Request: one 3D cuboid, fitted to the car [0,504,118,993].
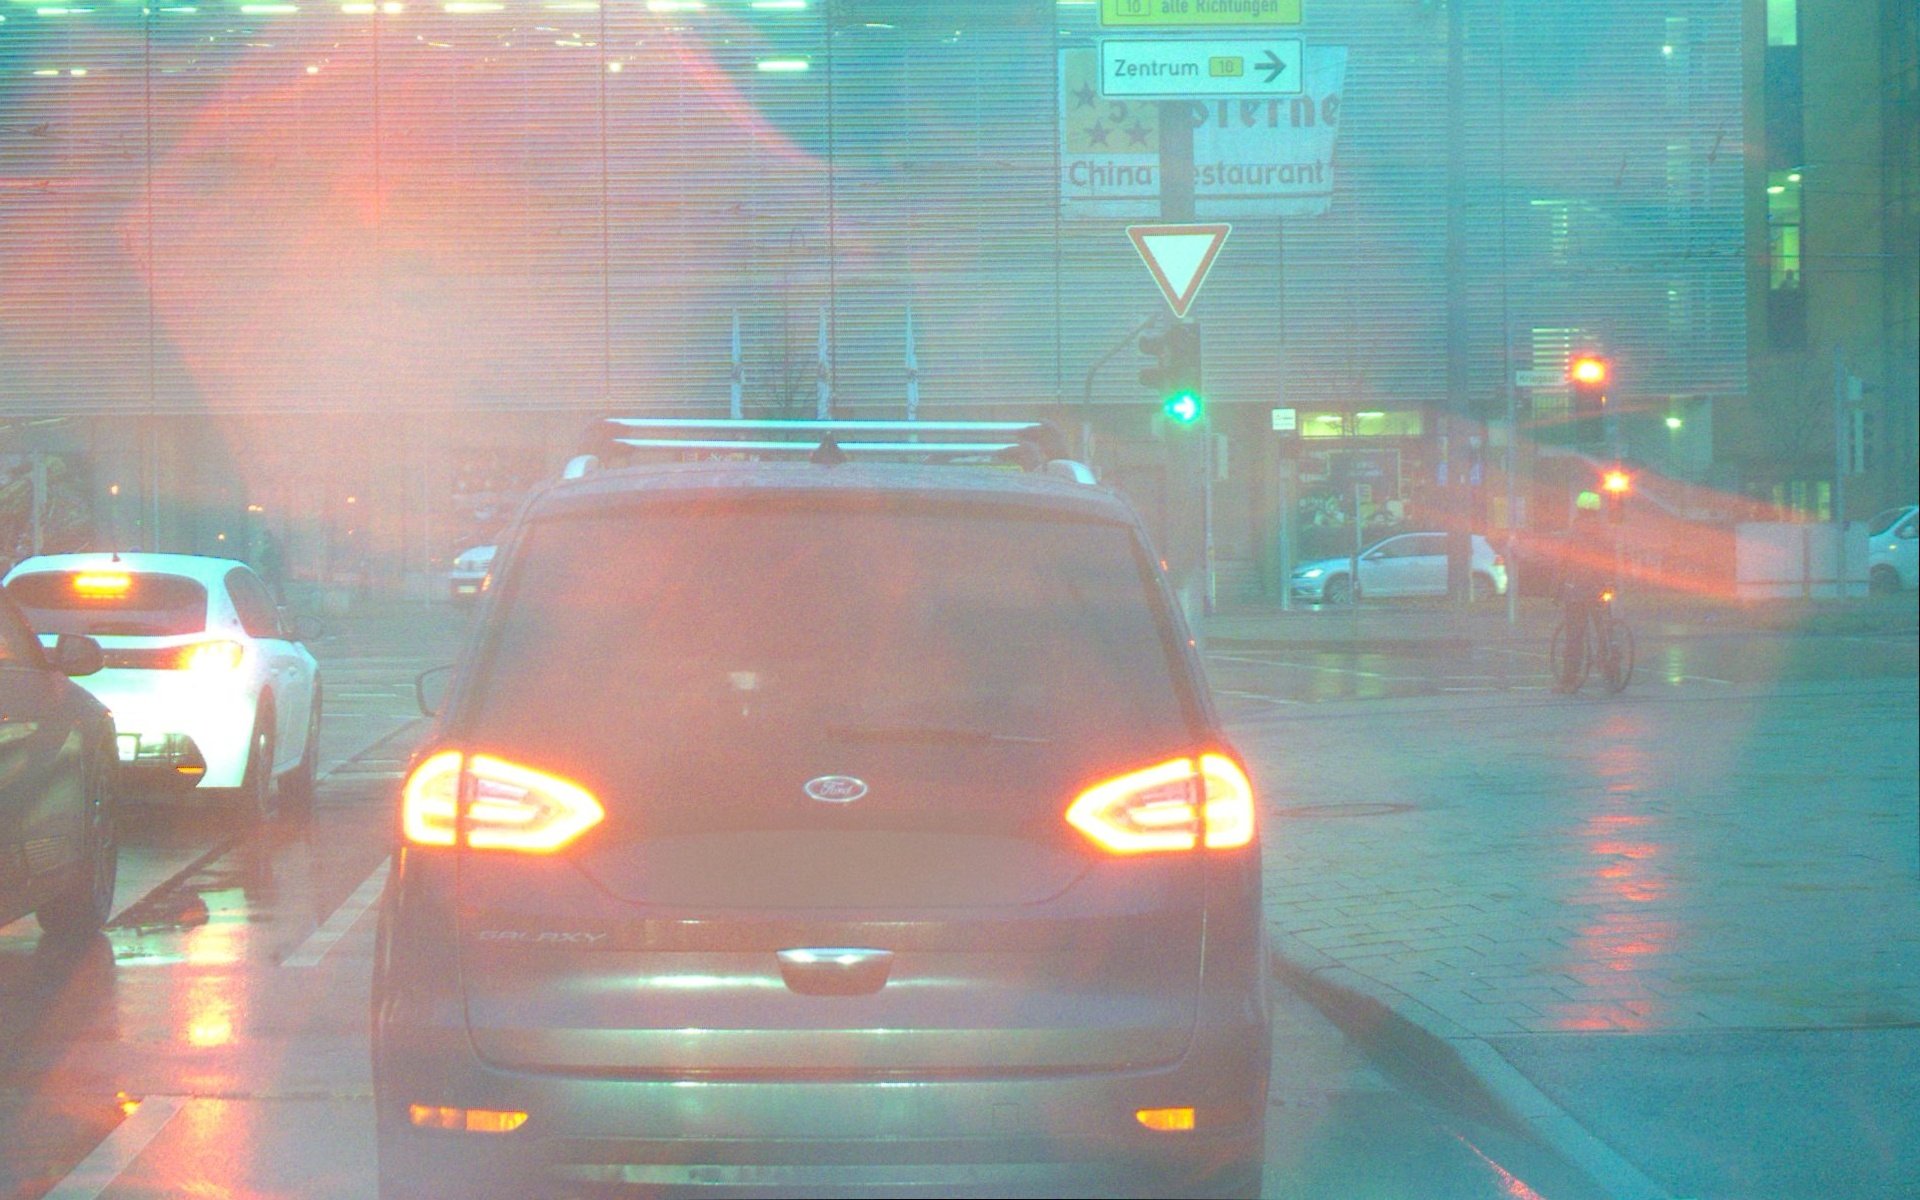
[{"bbox_3d":[-4.067,0.473,11.609,1.820,1.564,4.363,-1,1,-7],"label":"car"}]

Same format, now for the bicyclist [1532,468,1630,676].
[{"bbox_3d":[5.723,-0.262,31.708,0.791,1.884,0.989,0,1,5],"label":"bicyclist"}]

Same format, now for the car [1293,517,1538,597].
[{"bbox_3d":[8.710,-0.833,65.959,4.326,1.481,1.867,-1,1,-6],"label":"car"}]

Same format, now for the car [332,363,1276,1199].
[{"bbox_3d":[-0.320,0.442,8.228,1.674,1.773,4.000,1,1,-1],"label":"car"}]

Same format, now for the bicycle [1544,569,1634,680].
[{"bbox_3d":[5.800,0.215,31.775,0.655,0.970,1.866,0,1,5],"label":"bicycle"}]

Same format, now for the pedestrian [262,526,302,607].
[{"bbox_3d":[-15.123,-0.755,76.705,0.787,1.781,0.733,-1,1,-5],"label":"pedestrian"}]

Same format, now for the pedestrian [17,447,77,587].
[{"bbox_3d":[-19.277,-1.737,72.599,0.963,2.915,1.114,1,0,-1],"label":"pedestrian"}]

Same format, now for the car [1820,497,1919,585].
[{"bbox_3d":[19.278,-1.169,66.805,4.636,1.671,1.787,-1,1,-10],"label":"car"}]

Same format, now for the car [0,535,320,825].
[{"bbox_3d":[-4.643,0.369,19.289,1.758,1.458,3.918,0,1,-6],"label":"car"}]

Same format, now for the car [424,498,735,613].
[{"bbox_3d":[-6.429,-0.775,58.406,4.948,1.865,1.905,-1,1,-37],"label":"car"}]

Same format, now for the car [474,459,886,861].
[{"bbox_3d":[-1.445,0.220,17.796,1.843,1.800,4.488,-1,1,-5],"label":"car"}]
